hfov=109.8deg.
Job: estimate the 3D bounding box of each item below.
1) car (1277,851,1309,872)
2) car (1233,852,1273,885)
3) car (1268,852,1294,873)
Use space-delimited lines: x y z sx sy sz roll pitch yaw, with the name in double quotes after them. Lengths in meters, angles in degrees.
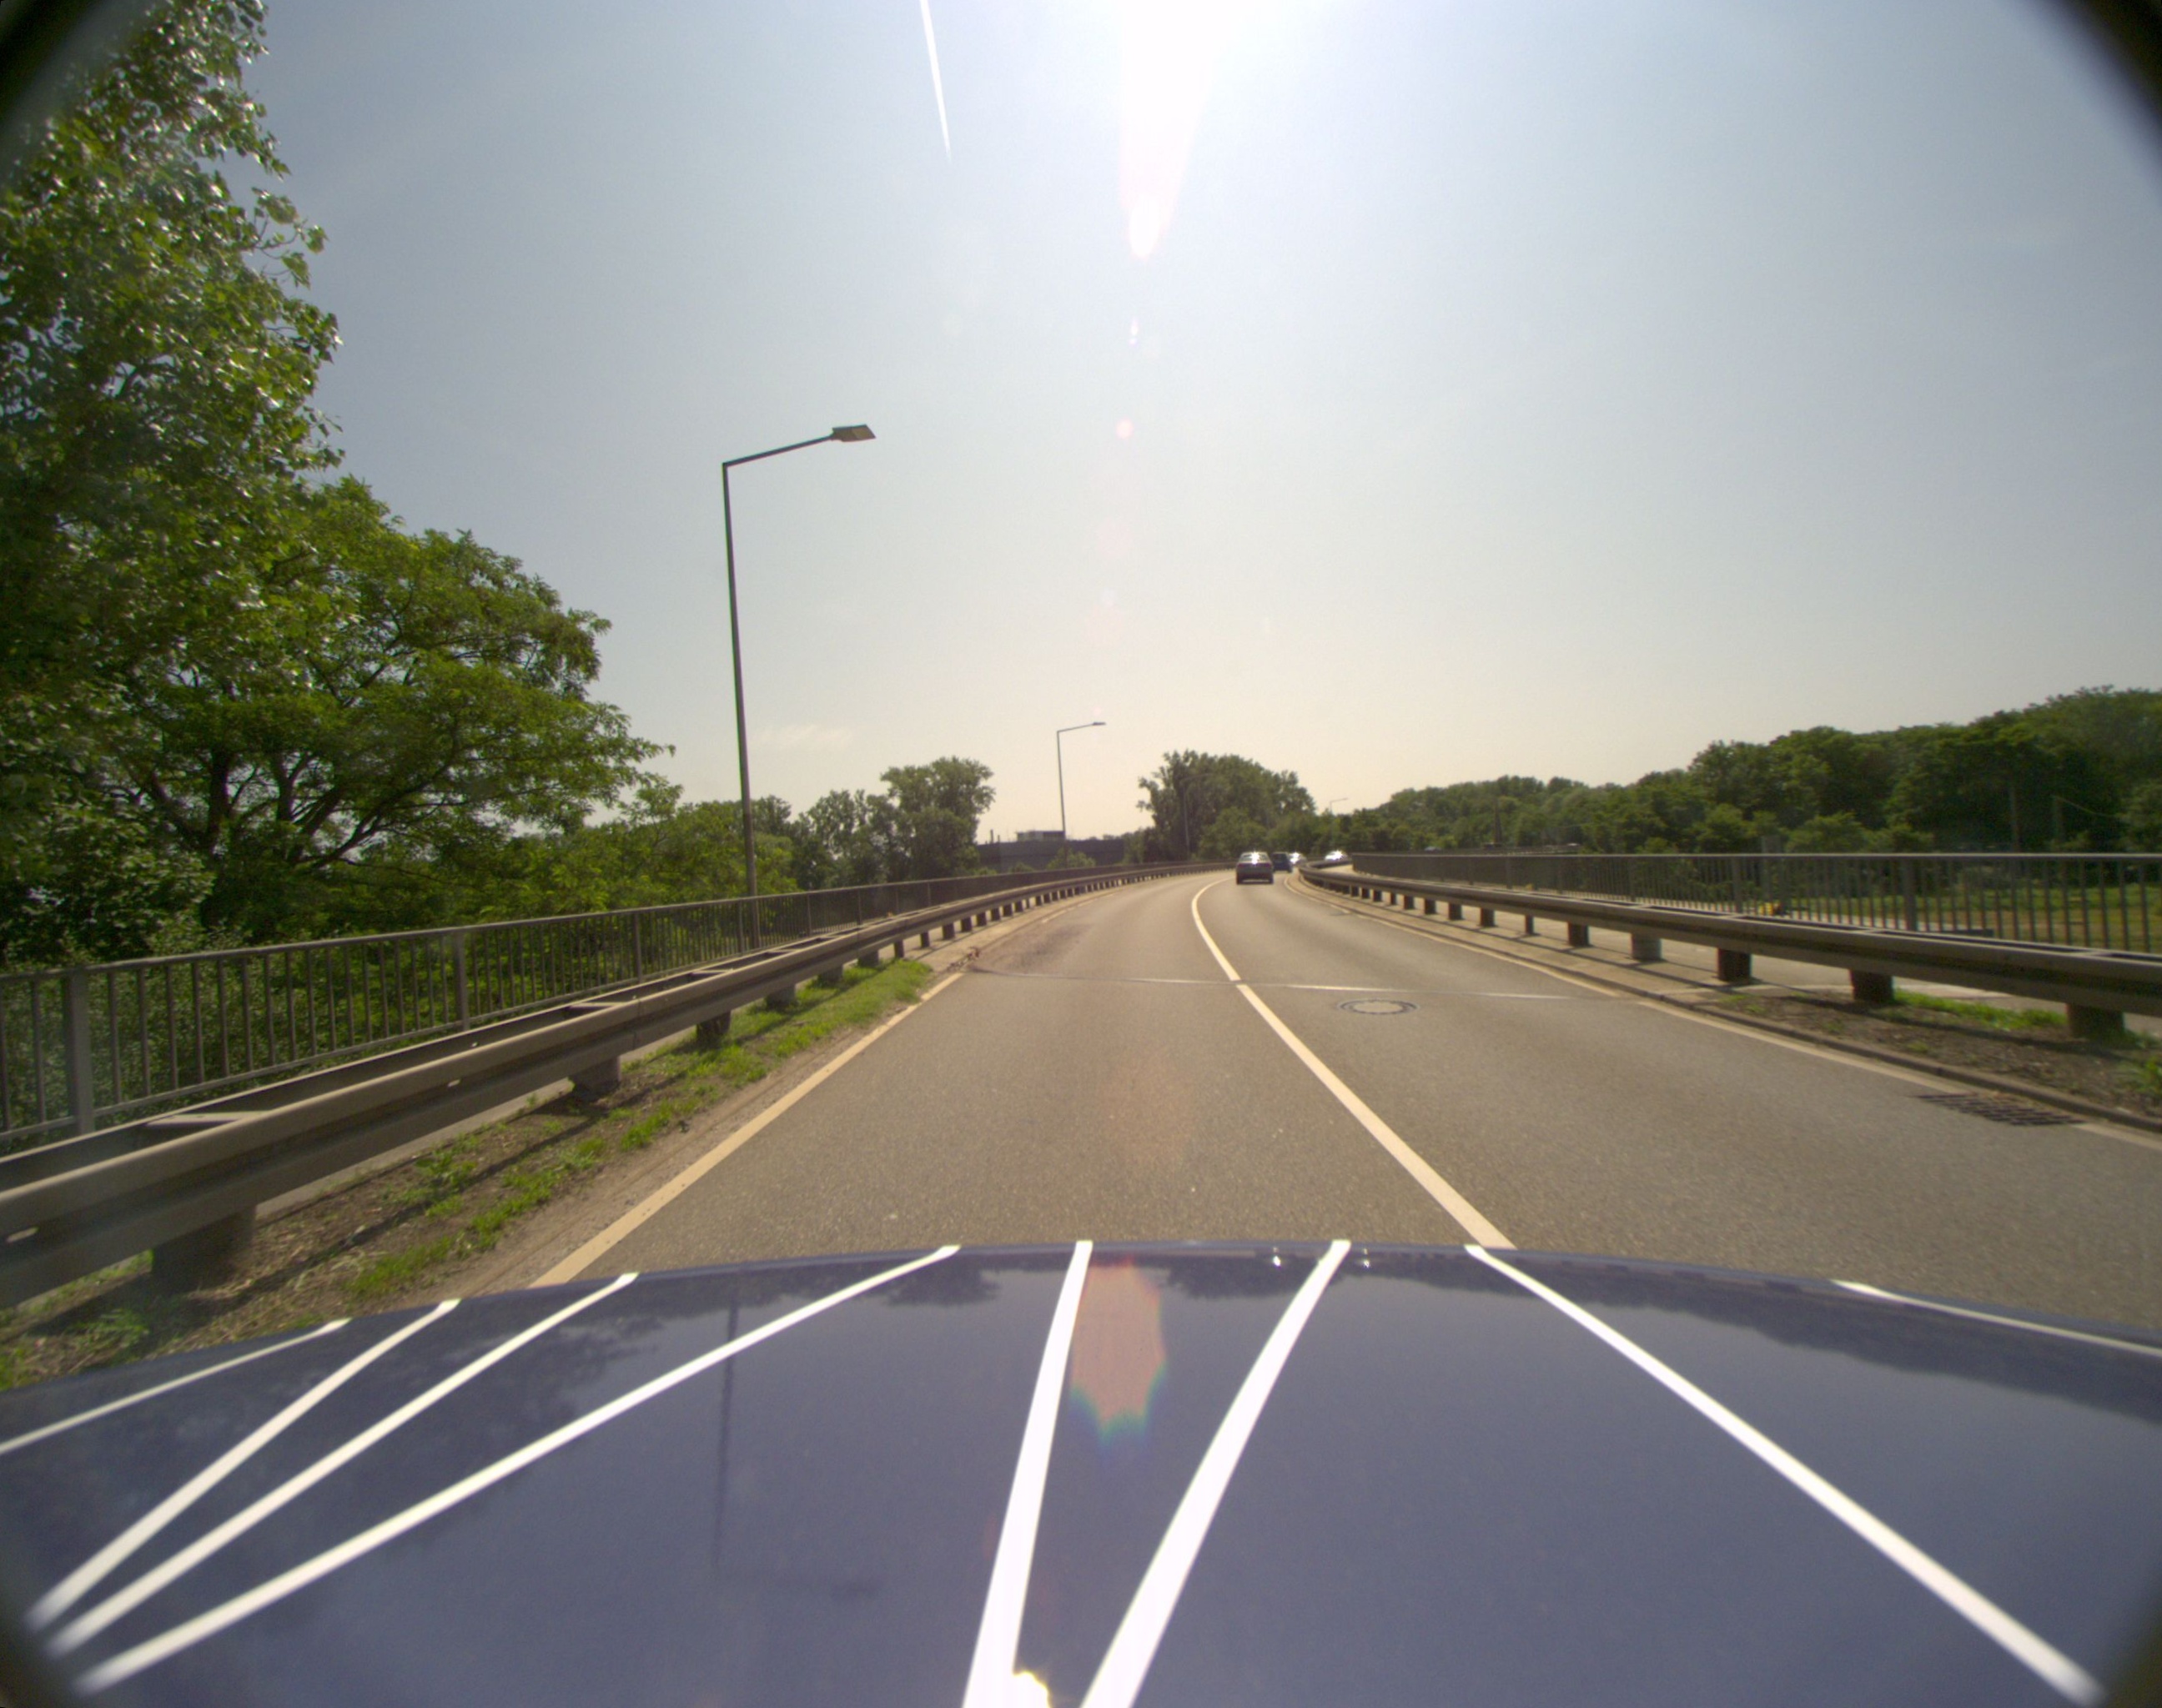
21.872 0.769 78.410 1.995 2.001 4.008 -3 -1 33 "car"
8.782 0.737 38.856 1.826 1.527 4.199 -2 -1 13 "car"
14.890 0.600 56.468 1.599 1.477 2.752 -3 -1 20 "car"
